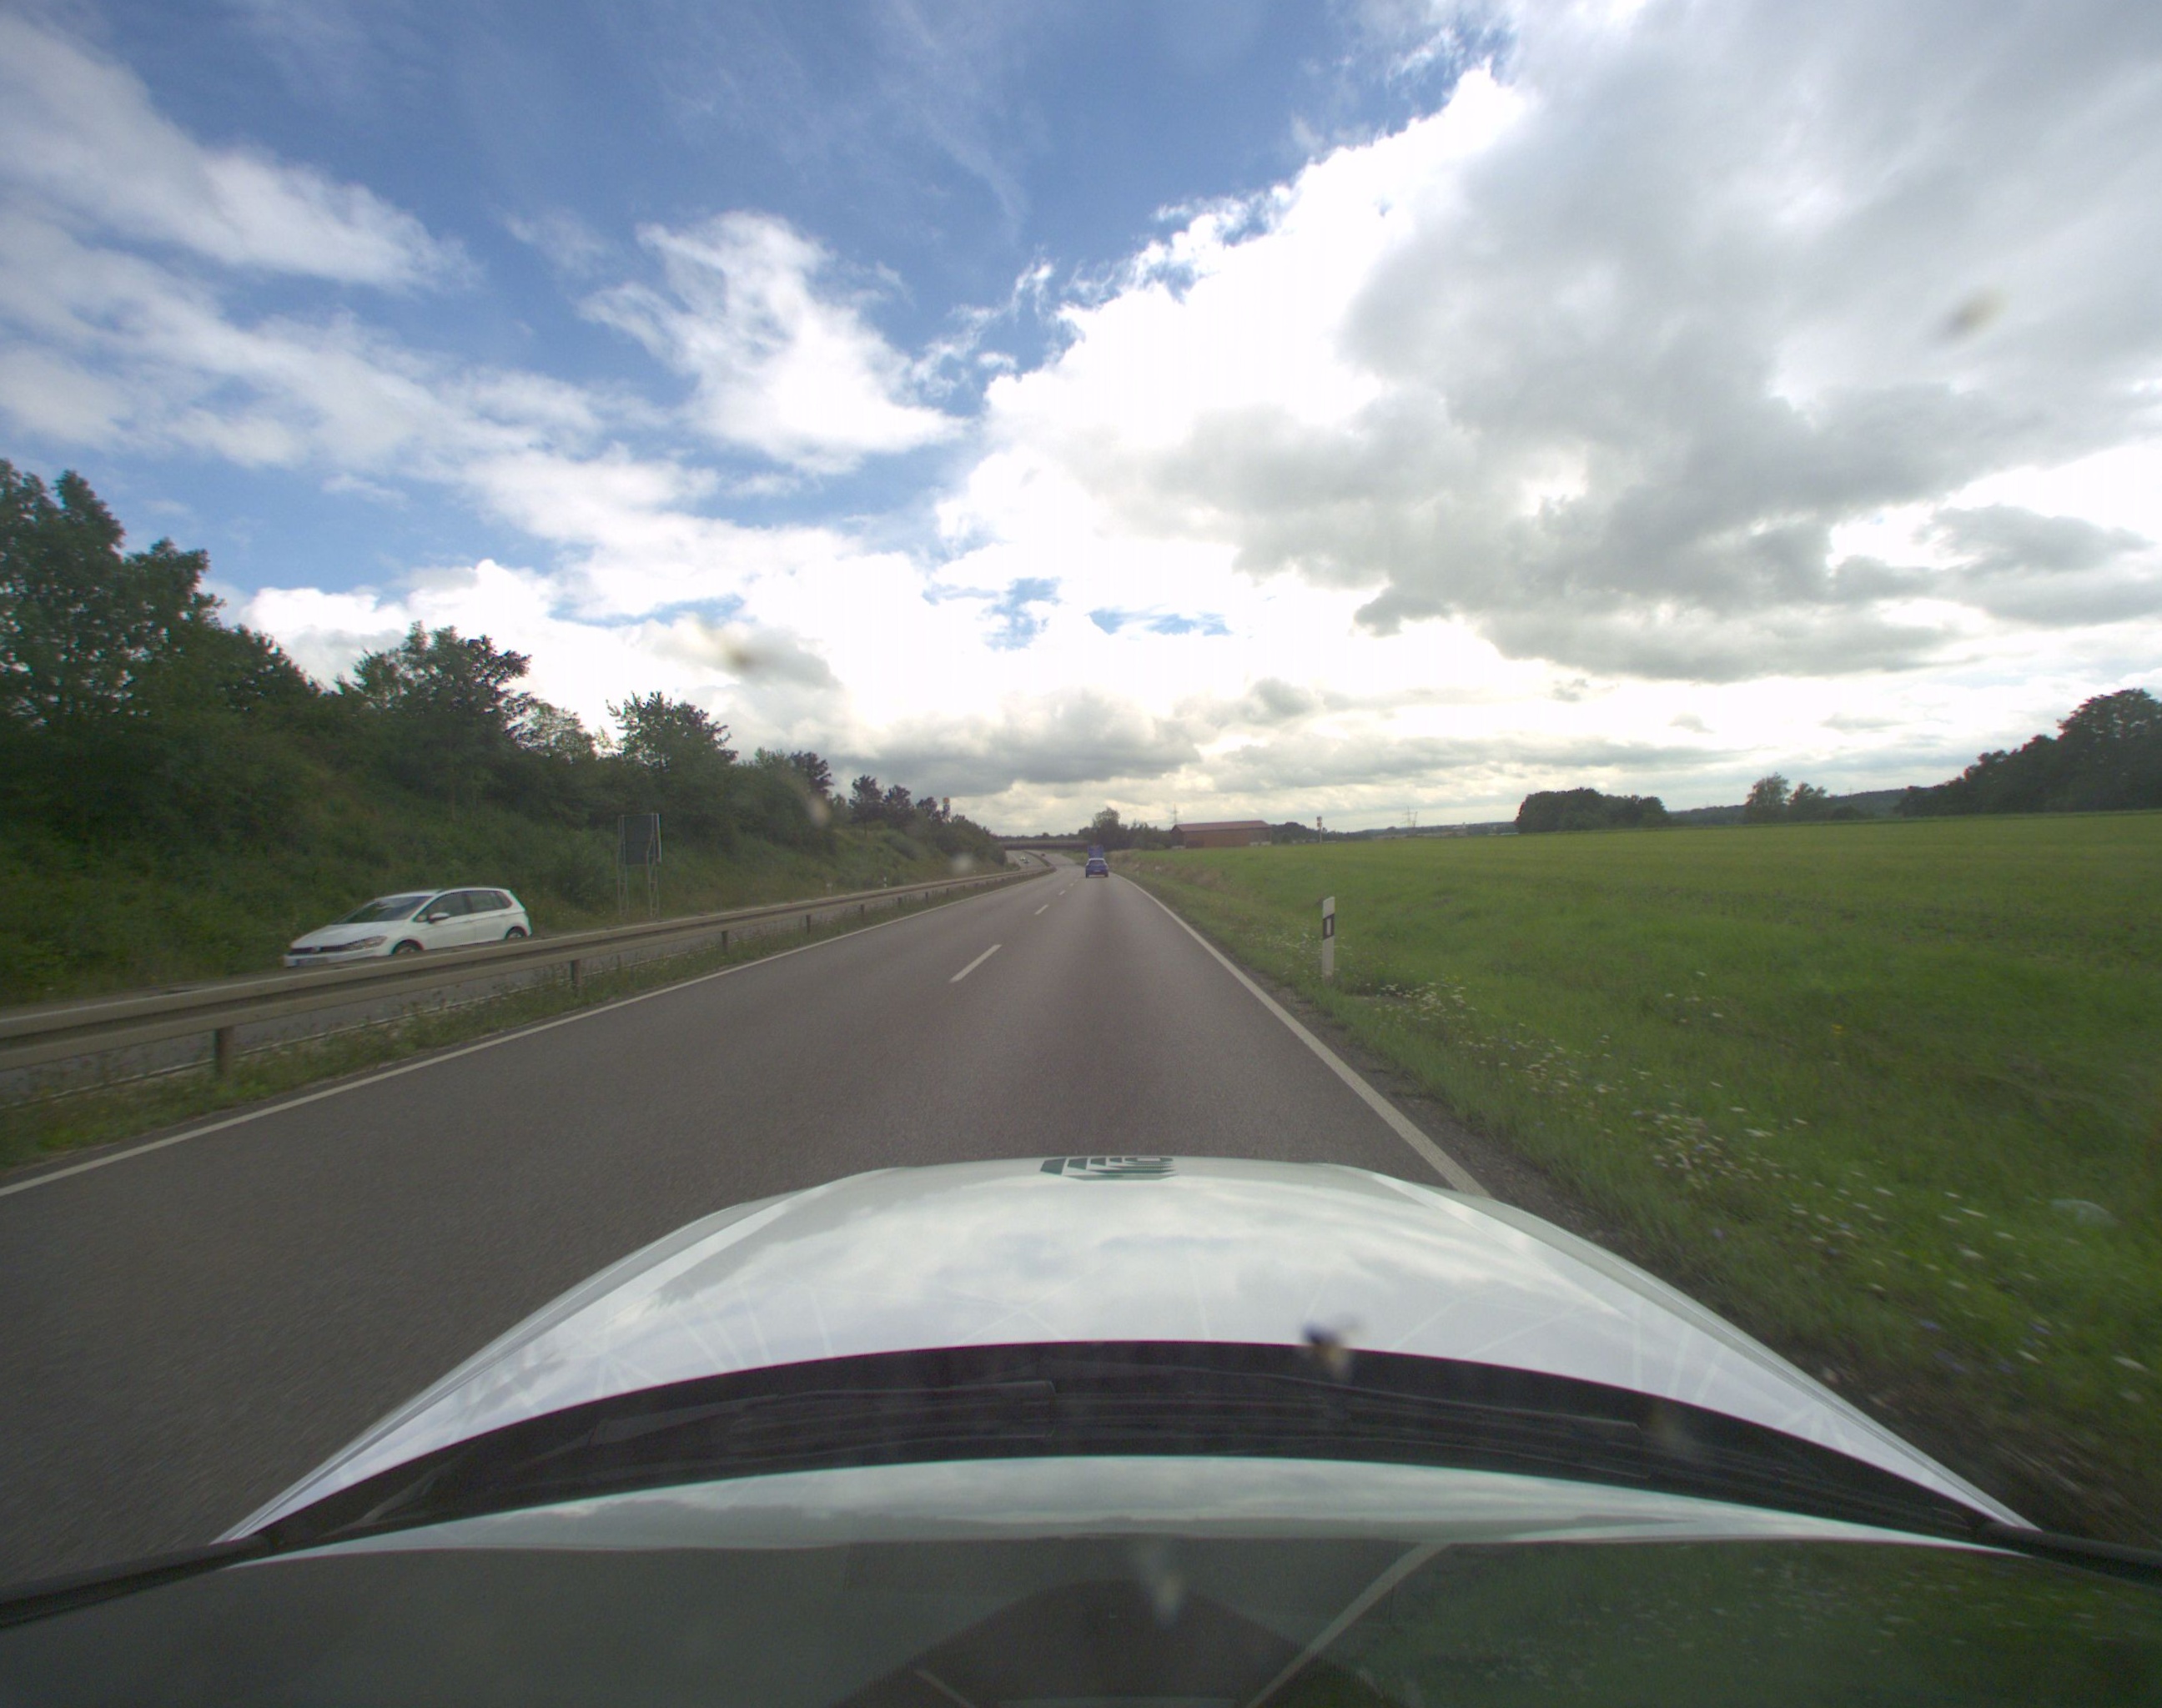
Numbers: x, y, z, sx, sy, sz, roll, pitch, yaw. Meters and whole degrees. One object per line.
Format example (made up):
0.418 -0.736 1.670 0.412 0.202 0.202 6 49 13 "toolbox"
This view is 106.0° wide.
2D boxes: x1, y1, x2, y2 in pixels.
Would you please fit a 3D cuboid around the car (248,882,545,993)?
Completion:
-13.030 1.486 15.984 1.914 1.517 4.465 -3 1 1 "car"

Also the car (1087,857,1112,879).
1.528 1.194 69.944 2.027 1.660 4.543 -1 1 0 "car"
